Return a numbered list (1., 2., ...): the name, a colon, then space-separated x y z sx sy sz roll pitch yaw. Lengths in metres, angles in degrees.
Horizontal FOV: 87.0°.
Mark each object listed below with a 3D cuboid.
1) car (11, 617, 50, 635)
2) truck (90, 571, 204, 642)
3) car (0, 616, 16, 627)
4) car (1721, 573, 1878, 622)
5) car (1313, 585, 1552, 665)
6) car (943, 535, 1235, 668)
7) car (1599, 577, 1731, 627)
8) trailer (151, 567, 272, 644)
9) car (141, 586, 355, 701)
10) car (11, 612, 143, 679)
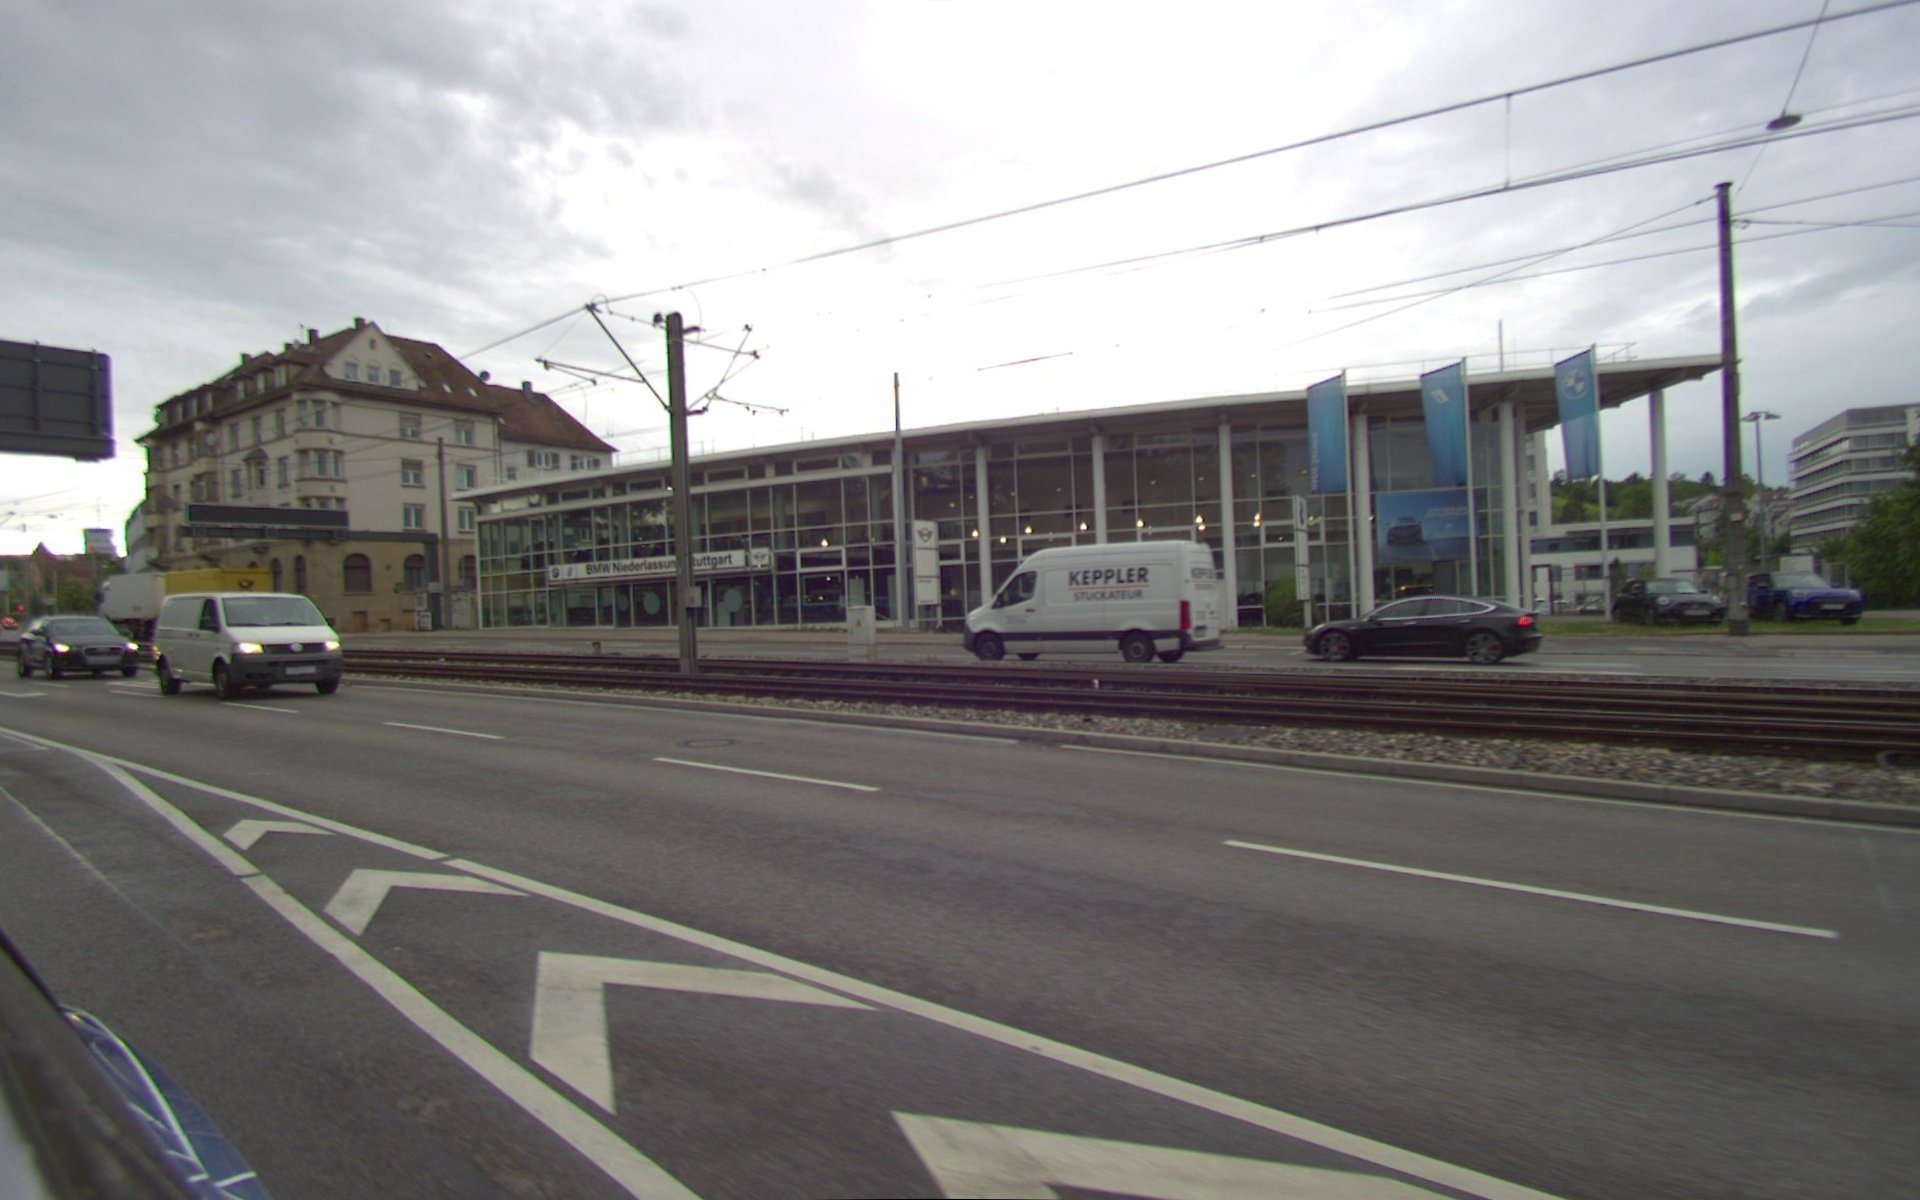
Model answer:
1. car: -79.013 2.219 85.982 3.842 1.415 1.666 -2 0 35
2. truck: -50.486 0.458 62.712 10.115 4.082 2.661 -1 -1 34
3. car: -163.374 3.705 173.708 1.809 1.811 4.221 1 -2 -41
4. car: 23.097 -0.083 28.047 1.743 1.244 3.983 -1 0 13
5. car: 9.874 0.506 21.293 4.329 1.527 1.727 -1 0 34
6. car: 2.746 0.061 22.477 6.148 2.618 2.034 -1 0 34
7. car: 20.132 0.033 29.105 1.686 1.244 3.983 -4 0 13
8. trailer: -42.519 0.350 57.351 9.058 4.082 2.661 -1 -1 34
9. car: -13.752 0.784 19.458 4.707 1.973 1.893 -1 0 35
10. car: -22.975 1.152 26.308 3.886 1.585 1.690 -1 -1 35
